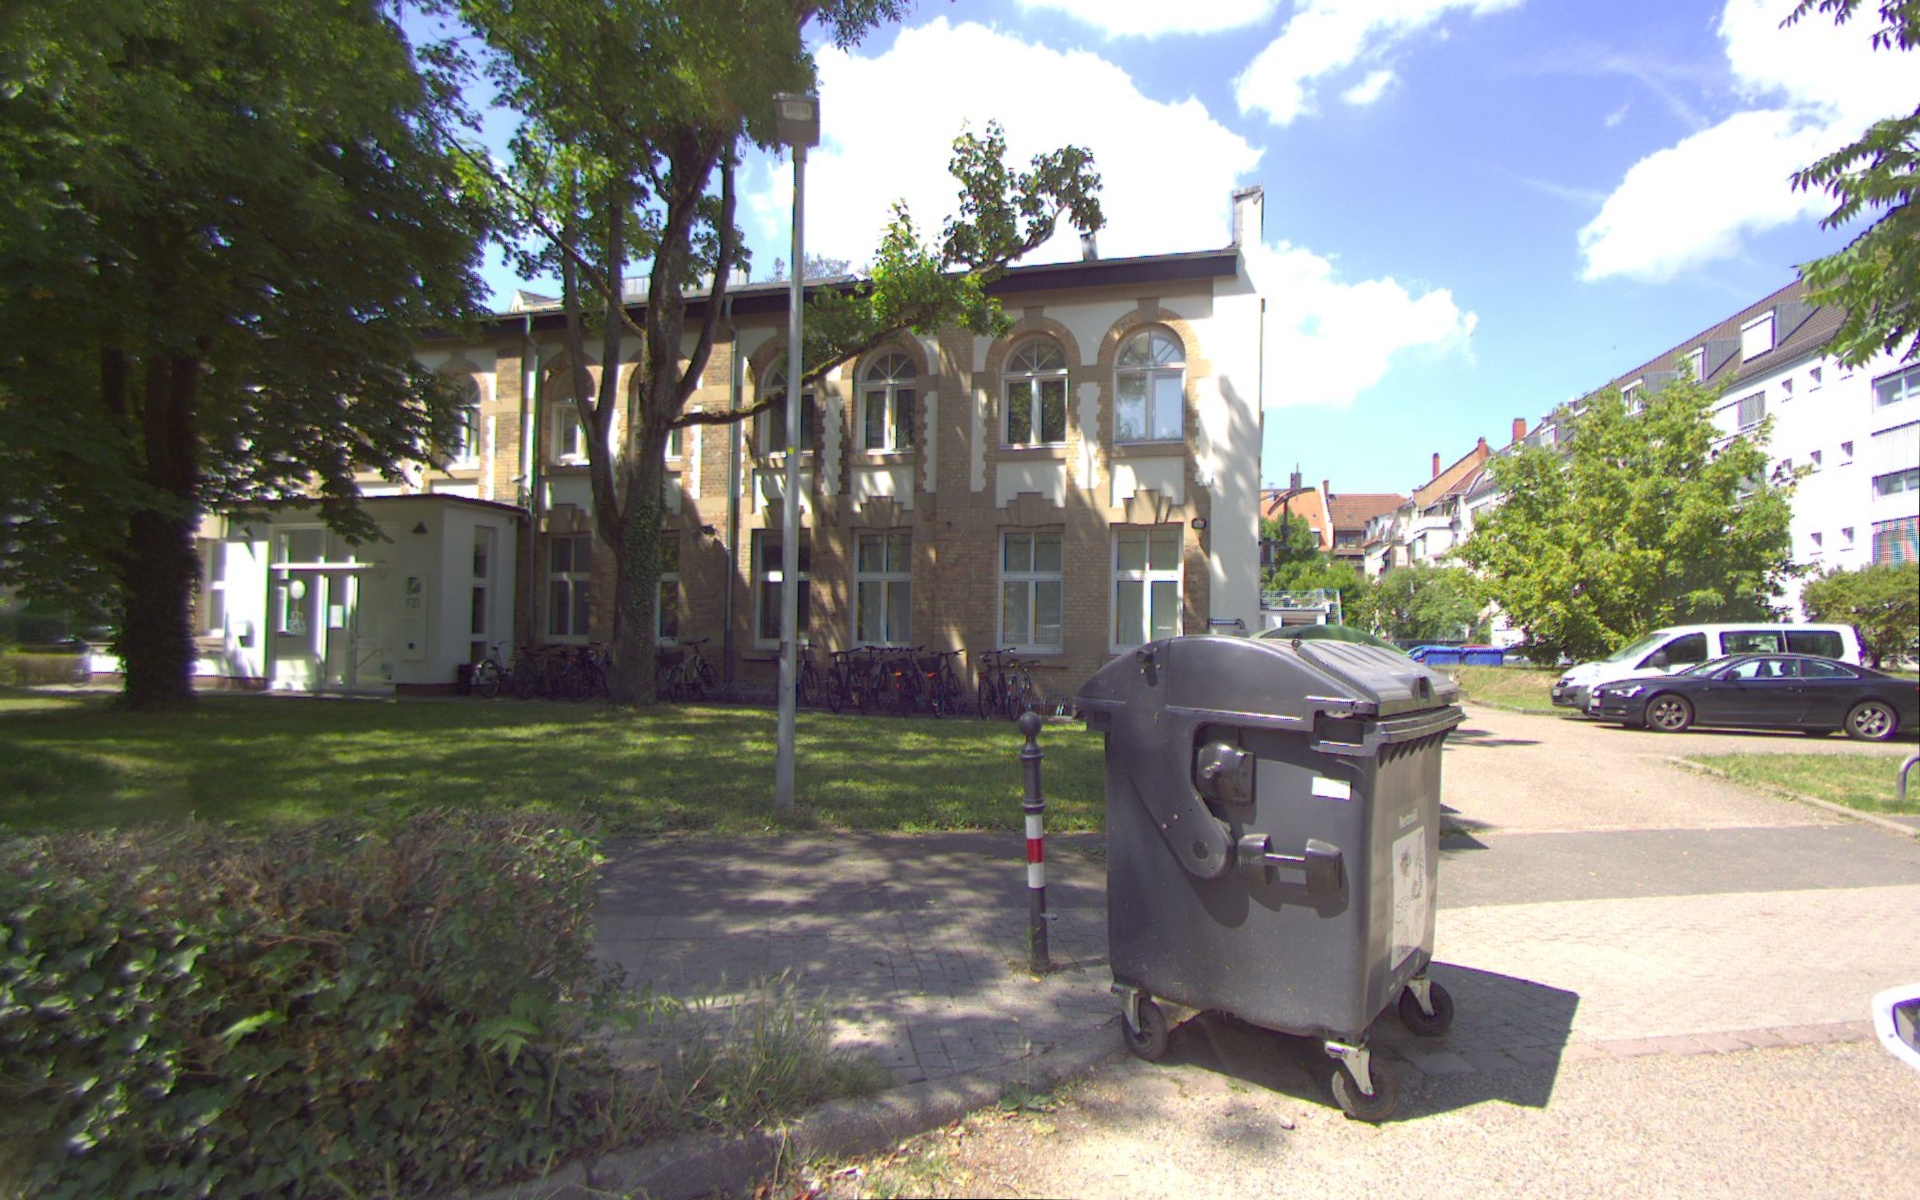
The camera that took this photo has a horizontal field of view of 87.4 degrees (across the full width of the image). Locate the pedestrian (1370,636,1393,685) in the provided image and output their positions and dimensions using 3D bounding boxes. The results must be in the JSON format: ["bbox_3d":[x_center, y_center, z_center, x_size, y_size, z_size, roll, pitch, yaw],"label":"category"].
[{"bbox_3d":[15.886,2.271,37.885,0.744,1.778,0.752,0,-2,17],"label":"pedestrian"}]

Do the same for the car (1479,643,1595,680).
[{"bbox_3d":[24.298,2.575,42.438,3.919,1.498,1.806,0,-2,15],"label":"car"}]

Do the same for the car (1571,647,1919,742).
[{"bbox_3d":[13.153,1.526,16.937,4.534,1.370,1.834,0,-2,16],"label":"car"}]

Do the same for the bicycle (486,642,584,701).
[{"bbox_3d":[-8.072,1.336,19.190,0.619,1.025,2.261,0,-2,8],"label":"bicycle"}]

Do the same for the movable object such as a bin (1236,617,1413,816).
[{"bbox_3d":[2.959,0.911,8.341,1.074,1.499,1.361,0,-2,6],"label":"movable object such as a bin"}]

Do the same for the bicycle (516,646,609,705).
[{"bbox_3d":[-7.463,1.388,18.998,0.558,1.024,2.261,1,-2,8],"label":"bicycle"}]

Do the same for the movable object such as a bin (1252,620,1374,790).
[{"bbox_3d":[3.354,0.960,9.672,1.027,1.499,1.262,0,-2,17],"label":"movable object such as a bin"}]

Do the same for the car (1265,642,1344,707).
[{"bbox_3d":[8.652,1.824,25.489,1.725,1.448,4.388,0,-2,17],"label":"car"}]

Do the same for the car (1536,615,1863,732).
[{"bbox_3d":[14.086,1.373,19.503,4.679,2.040,2.001,0,-3,16],"label":"car"}]

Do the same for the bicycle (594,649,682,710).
[{"bbox_3d":[-5.914,1.432,18.598,0.595,1.024,2.261,0,-2,8],"label":"bicycle"}]

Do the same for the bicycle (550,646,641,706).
[{"bbox_3d":[-6.822,1.398,18.923,0.595,1.024,2.261,0,-2,8],"label":"bicycle"}]

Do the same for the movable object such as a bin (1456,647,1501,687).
[{"bbox_3d":[17.899,2.308,34.690,1.196,1.344,1.161,0,-2,18],"label":"movable object such as a bin"}]

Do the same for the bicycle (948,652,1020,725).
[{"bbox_3d":[0.445,1.438,16.895,0.595,1.096,2.260,0,-2,18],"label":"bicycle"}]

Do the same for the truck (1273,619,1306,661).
[{"bbox_3d":[24.223,2.955,73.962,1.757,2.975,4.657,1,-2,11],"label":"truck"}]

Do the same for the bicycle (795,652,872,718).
[{"bbox_3d":[-2.166,1.438,17.541,0.595,1.024,2.261,0,-2,12],"label":"bicycle"}]

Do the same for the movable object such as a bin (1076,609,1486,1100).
[{"bbox_3d":[1.204,0.763,3.709,1.099,1.412,1.155,-1,-3,39],"label":"movable object such as a bin"}]

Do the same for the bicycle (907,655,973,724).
[{"bbox_3d":[-0.303,1.471,16.968,0.595,1.024,2.261,0,-2,12],"label":"bicycle"}]

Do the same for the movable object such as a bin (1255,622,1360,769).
[{"bbox_3d":[3.795,1.011,11.098,1.027,1.499,1.411,0,-2,16],"label":"movable object such as a bin"}]

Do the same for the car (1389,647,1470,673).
[{"bbox_3d":[26.735,3.379,57.288,3.919,1.408,1.806,0,-2,15],"label":"car"}]

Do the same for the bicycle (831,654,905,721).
[{"bbox_3d":[-1.552,1.474,17.326,0.595,1.024,2.261,0,-2,12],"label":"bicycle"}]

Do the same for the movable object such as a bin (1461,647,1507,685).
[{"bbox_3d":[18.824,2.360,36.124,1.195,1.344,1.161,0,-2,14],"label":"movable object such as a bin"}]

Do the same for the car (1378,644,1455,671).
[{"bbox_3d":[27.301,3.411,60.230,3.919,1.554,1.806,0,-2,15],"label":"car"}]

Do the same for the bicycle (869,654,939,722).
[{"bbox_3d":[-0.921,1.464,17.153,0.595,1.024,2.261,0,-2,12],"label":"bicycle"}]

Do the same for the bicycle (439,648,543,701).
[{"bbox_3d":[-8.892,1.398,19.161,0.642,0.902,2.261,0,-2,8],"label":"bicycle"}]

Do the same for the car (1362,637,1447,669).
[{"bbox_3d":[27.891,3.309,63.233,4.598,1.984,2.078,0,-2,15],"label":"car"}]

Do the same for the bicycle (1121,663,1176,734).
[{"bbox_3d":[3.039,1.536,16.042,0.595,0.971,2.260,0,-2,18],"label":"bicycle"}]

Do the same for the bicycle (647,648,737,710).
[{"bbox_3d":[-4.857,1.407,18.396,0.595,1.024,2.261,0,-2,12],"label":"bicycle"}]

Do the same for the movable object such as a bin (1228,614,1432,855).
[{"bbox_3d":[2.520,0.864,7.058,1.183,1.499,1.326,0,-2,13],"label":"movable object such as a bin"}]

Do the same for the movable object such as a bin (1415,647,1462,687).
[{"bbox_3d":[16.653,2.320,34.979,1.316,1.344,1.161,0,-2,19],"label":"movable object such as a bin"}]

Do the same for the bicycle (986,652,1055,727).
[{"bbox_3d":[1.036,1.441,16.676,0.595,1.096,2.260,0,-2,18],"label":"bicycle"}]

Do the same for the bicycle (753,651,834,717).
[{"bbox_3d":[-2.890,1.442,17.679,0.595,1.024,2.261,0,-2,12],"label":"bicycle"}]

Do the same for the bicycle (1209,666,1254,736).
[{"bbox_3d":[4.234,1.537,15.604,0.601,0.971,1.730,0,-2,18],"label":"bicycle"}]
